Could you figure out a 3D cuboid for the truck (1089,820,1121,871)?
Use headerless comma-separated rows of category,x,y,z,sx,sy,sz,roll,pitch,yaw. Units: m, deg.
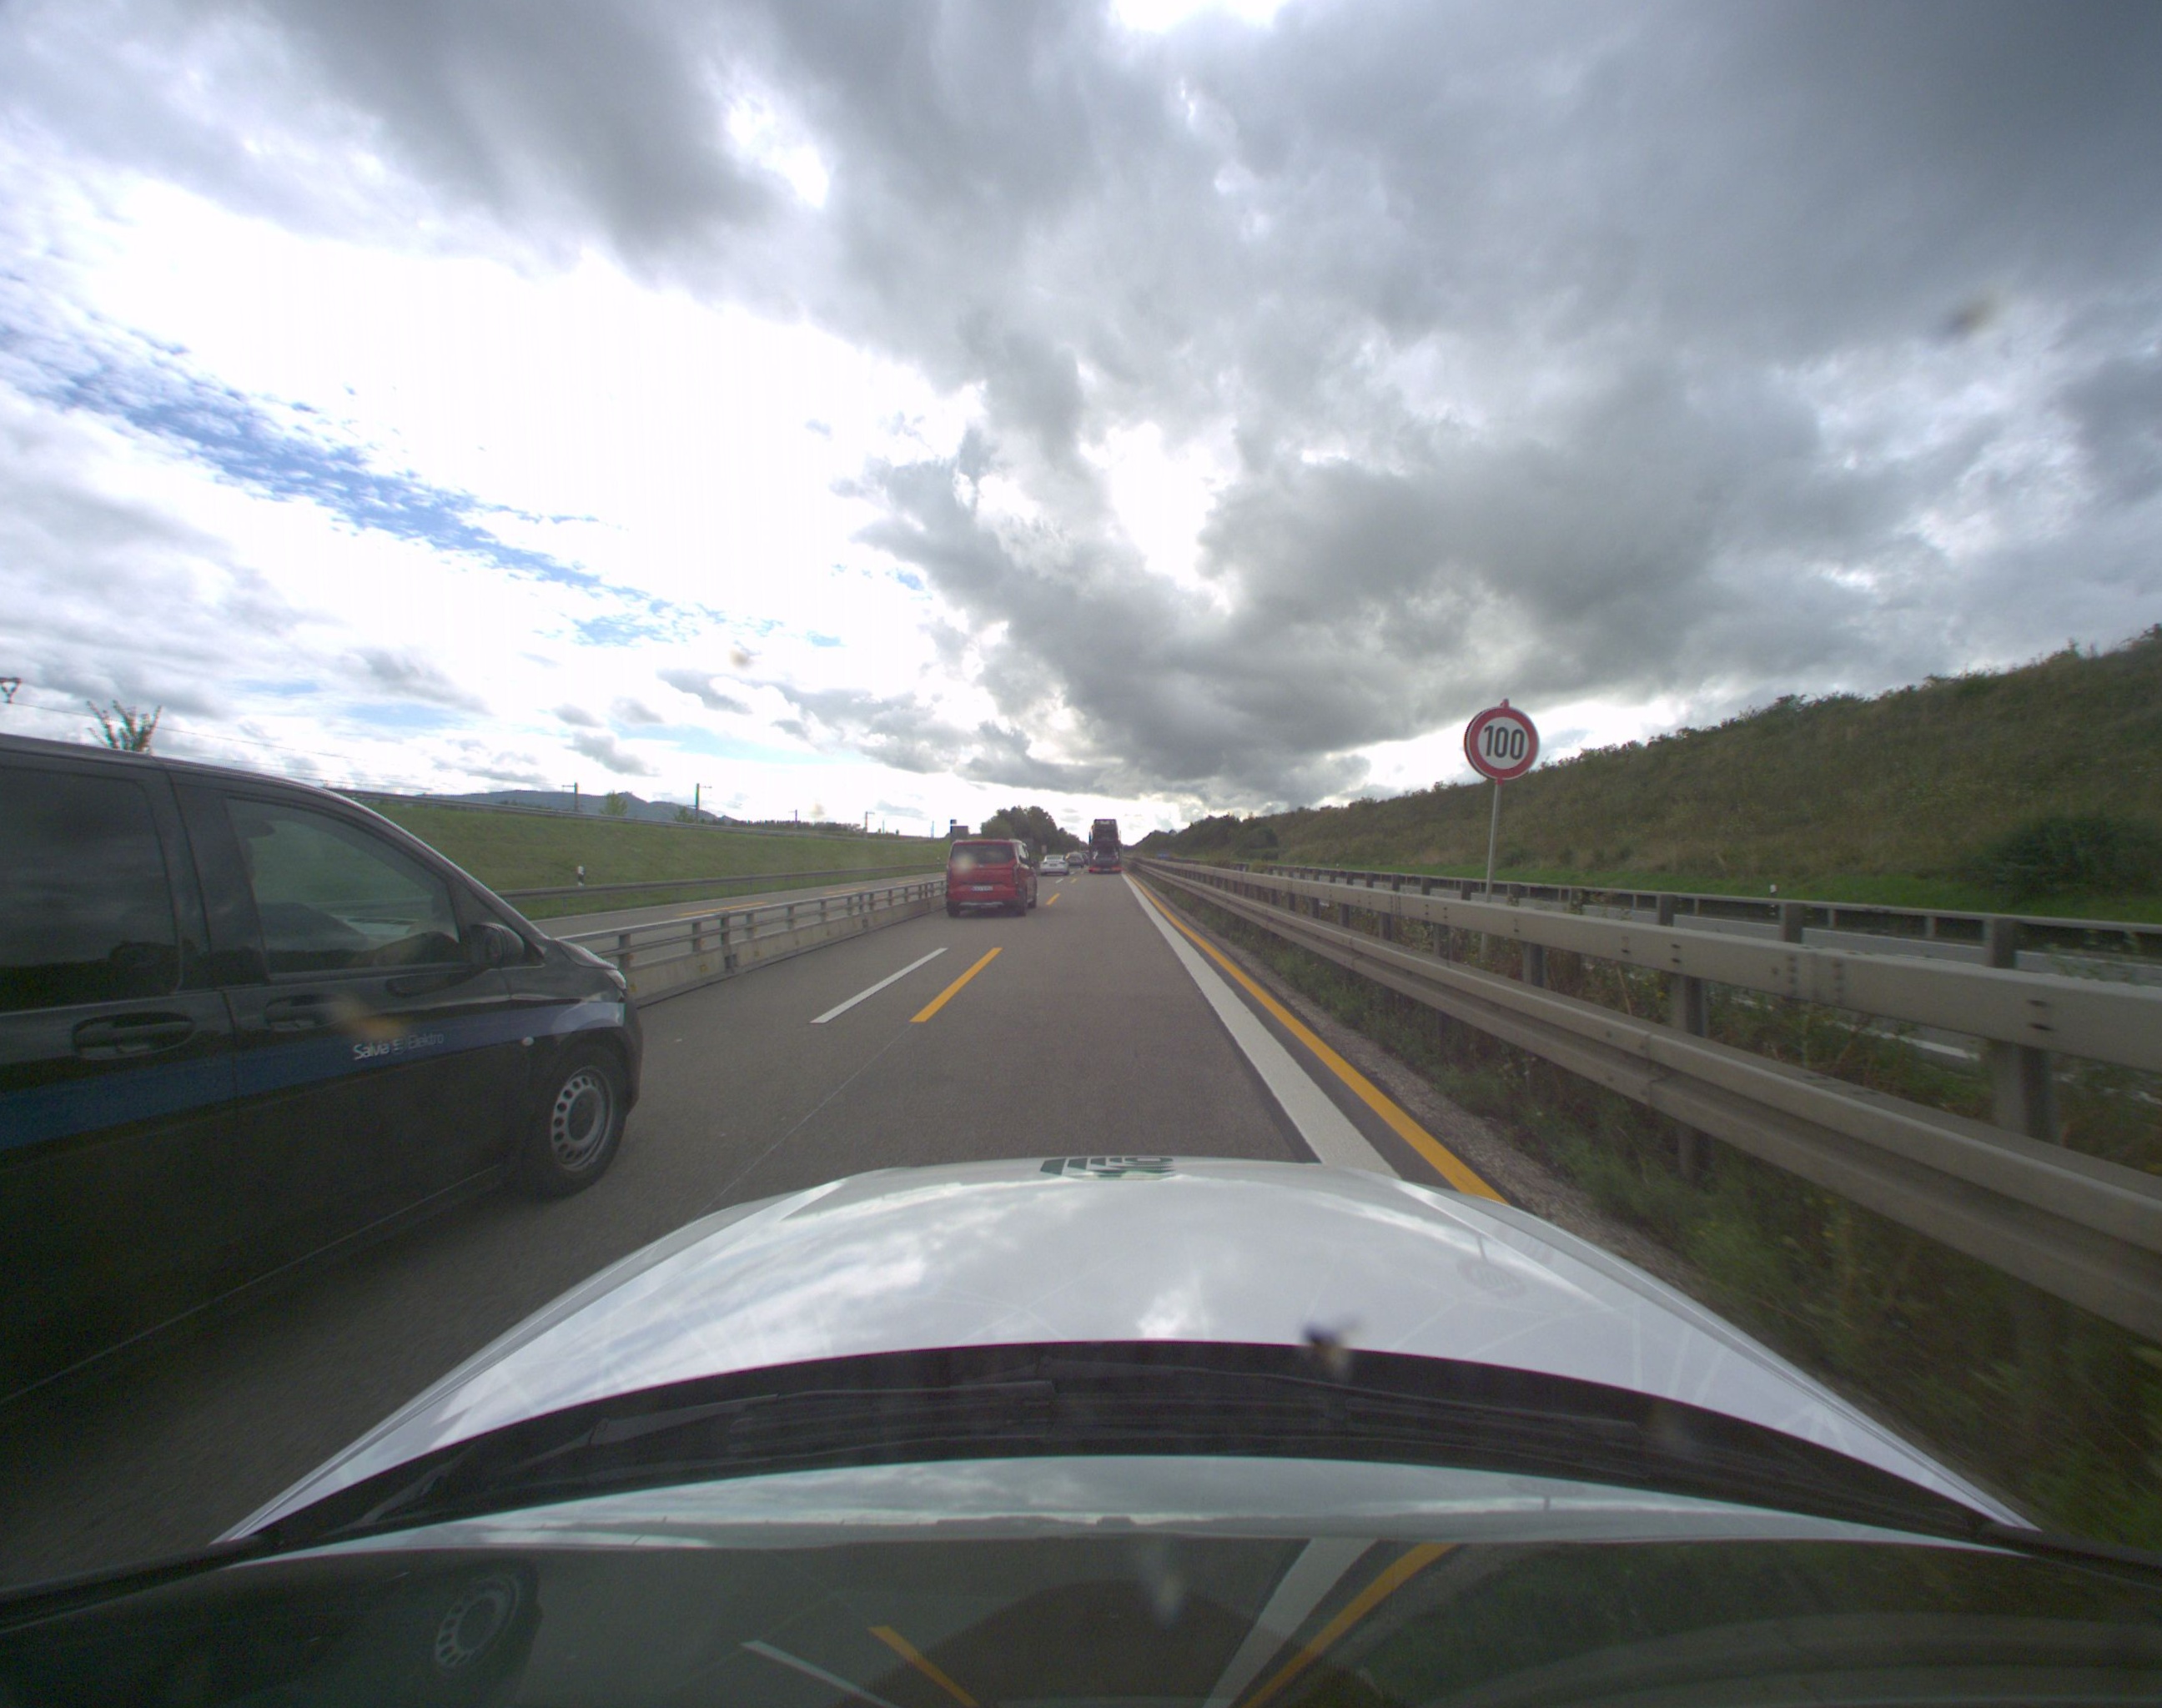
truck,2.031,-0.681,68.597,2.505,4.105,5.688,-1,0,2

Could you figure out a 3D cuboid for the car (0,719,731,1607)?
car,-3.235,0.660,2.174,1.986,1.843,5.611,-1,0,2

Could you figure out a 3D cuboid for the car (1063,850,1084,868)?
car,-0.759,0.539,85.744,2.024,1.757,4.579,-1,0,1

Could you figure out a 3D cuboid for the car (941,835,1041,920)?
car,-2.304,0.569,22.017,2.023,2.013,4.579,-1,0,2

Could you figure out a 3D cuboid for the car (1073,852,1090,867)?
car,0.058,0.613,98.780,2.024,1.757,4.578,-1,0,1

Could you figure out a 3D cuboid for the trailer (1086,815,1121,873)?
trailer,1.829,-0.685,63.650,2.505,4.105,11.119,-1,0,2

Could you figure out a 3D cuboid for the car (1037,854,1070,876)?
car,-1.915,0.743,57.665,2.024,1.430,4.579,-1,0,1
